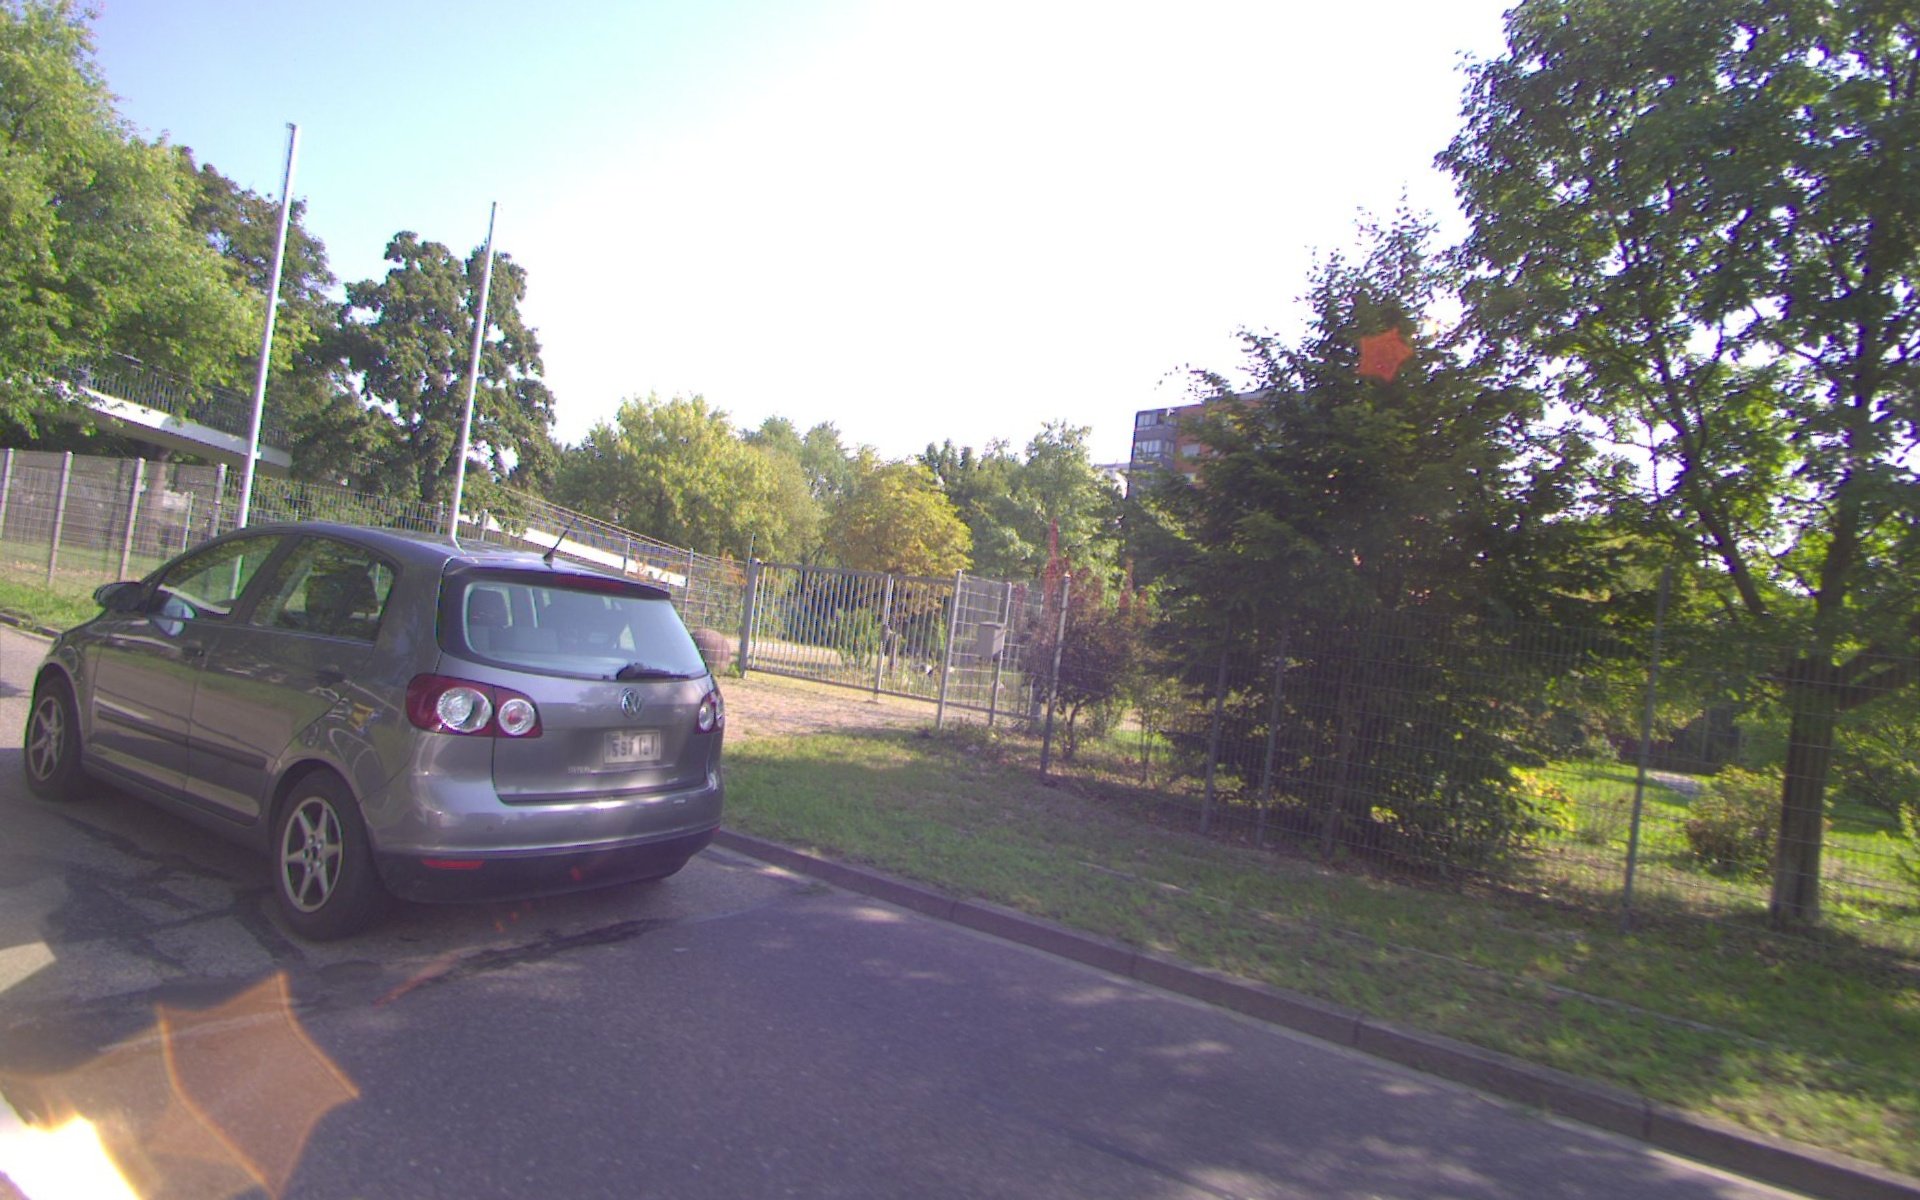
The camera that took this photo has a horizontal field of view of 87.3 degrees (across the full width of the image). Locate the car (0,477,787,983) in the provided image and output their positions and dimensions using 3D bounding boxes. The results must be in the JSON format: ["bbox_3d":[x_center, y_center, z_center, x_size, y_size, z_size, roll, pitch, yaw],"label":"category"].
[{"bbox_3d":[-2.966,0.395,5.034,3.833,1.574,1.649,6,-2,31],"label":"car"}]
